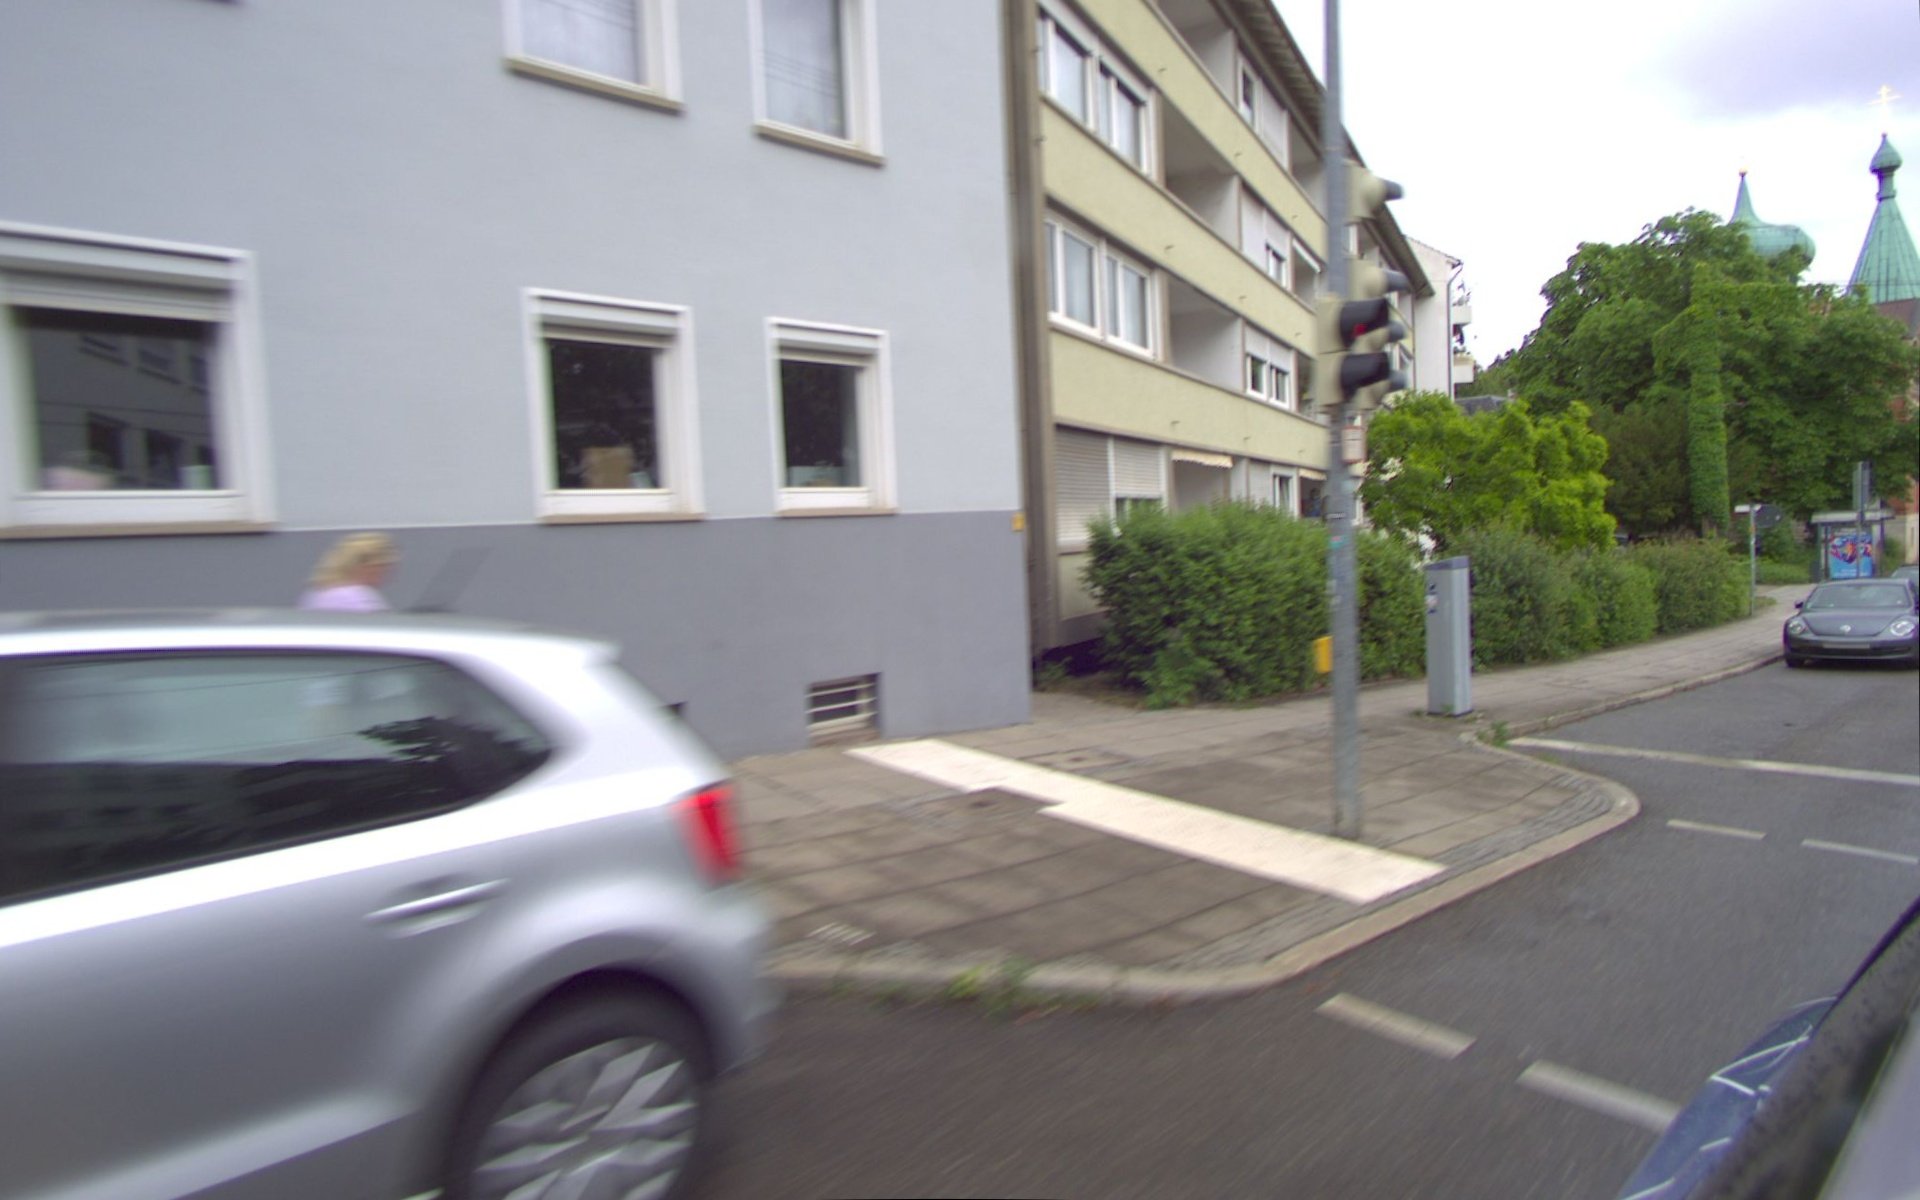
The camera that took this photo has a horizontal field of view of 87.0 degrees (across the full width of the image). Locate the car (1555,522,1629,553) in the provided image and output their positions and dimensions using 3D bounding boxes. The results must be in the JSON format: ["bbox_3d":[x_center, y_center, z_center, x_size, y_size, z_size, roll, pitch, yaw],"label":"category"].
[{"bbox_3d":[36.110,-3.556,57.916,1.808,1.583,3.996,-3,3,2],"label":"car"}]

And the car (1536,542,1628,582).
[{"bbox_3d":[29.267,-1.813,47.776,1.808,1.715,4.202,-3,3,2],"label":"car"}]

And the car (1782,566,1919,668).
[{"bbox_3d":[16.113,0.218,17.836,4.137,1.482,1.942,-4,2,-43],"label":"car"}]

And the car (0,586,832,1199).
[{"bbox_3d":[-2.394,0.725,1.861,4.031,1.451,1.707,-1,0,-42],"label":"car"}]

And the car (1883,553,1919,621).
[{"bbox_3d":[24.666,-0.384,25.334,4.567,1.505,1.860,-4,2,-42],"label":"car"}]

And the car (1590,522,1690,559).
[{"bbox_3d":[32.181,-2.810,48.053,1.807,1.577,4.386,-3,3,1],"label":"car"}]

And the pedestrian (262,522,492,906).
[{"bbox_3d":[-2.783,0.467,4.809,0.787,1.603,0.885,2,1,-38],"label":"pedestrian"}]

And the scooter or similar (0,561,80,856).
[{"bbox_3d":[-4.785,0.446,4.226,1.579,1.265,0.576,2,-1,-35],"label":"scooter or similar"}]
